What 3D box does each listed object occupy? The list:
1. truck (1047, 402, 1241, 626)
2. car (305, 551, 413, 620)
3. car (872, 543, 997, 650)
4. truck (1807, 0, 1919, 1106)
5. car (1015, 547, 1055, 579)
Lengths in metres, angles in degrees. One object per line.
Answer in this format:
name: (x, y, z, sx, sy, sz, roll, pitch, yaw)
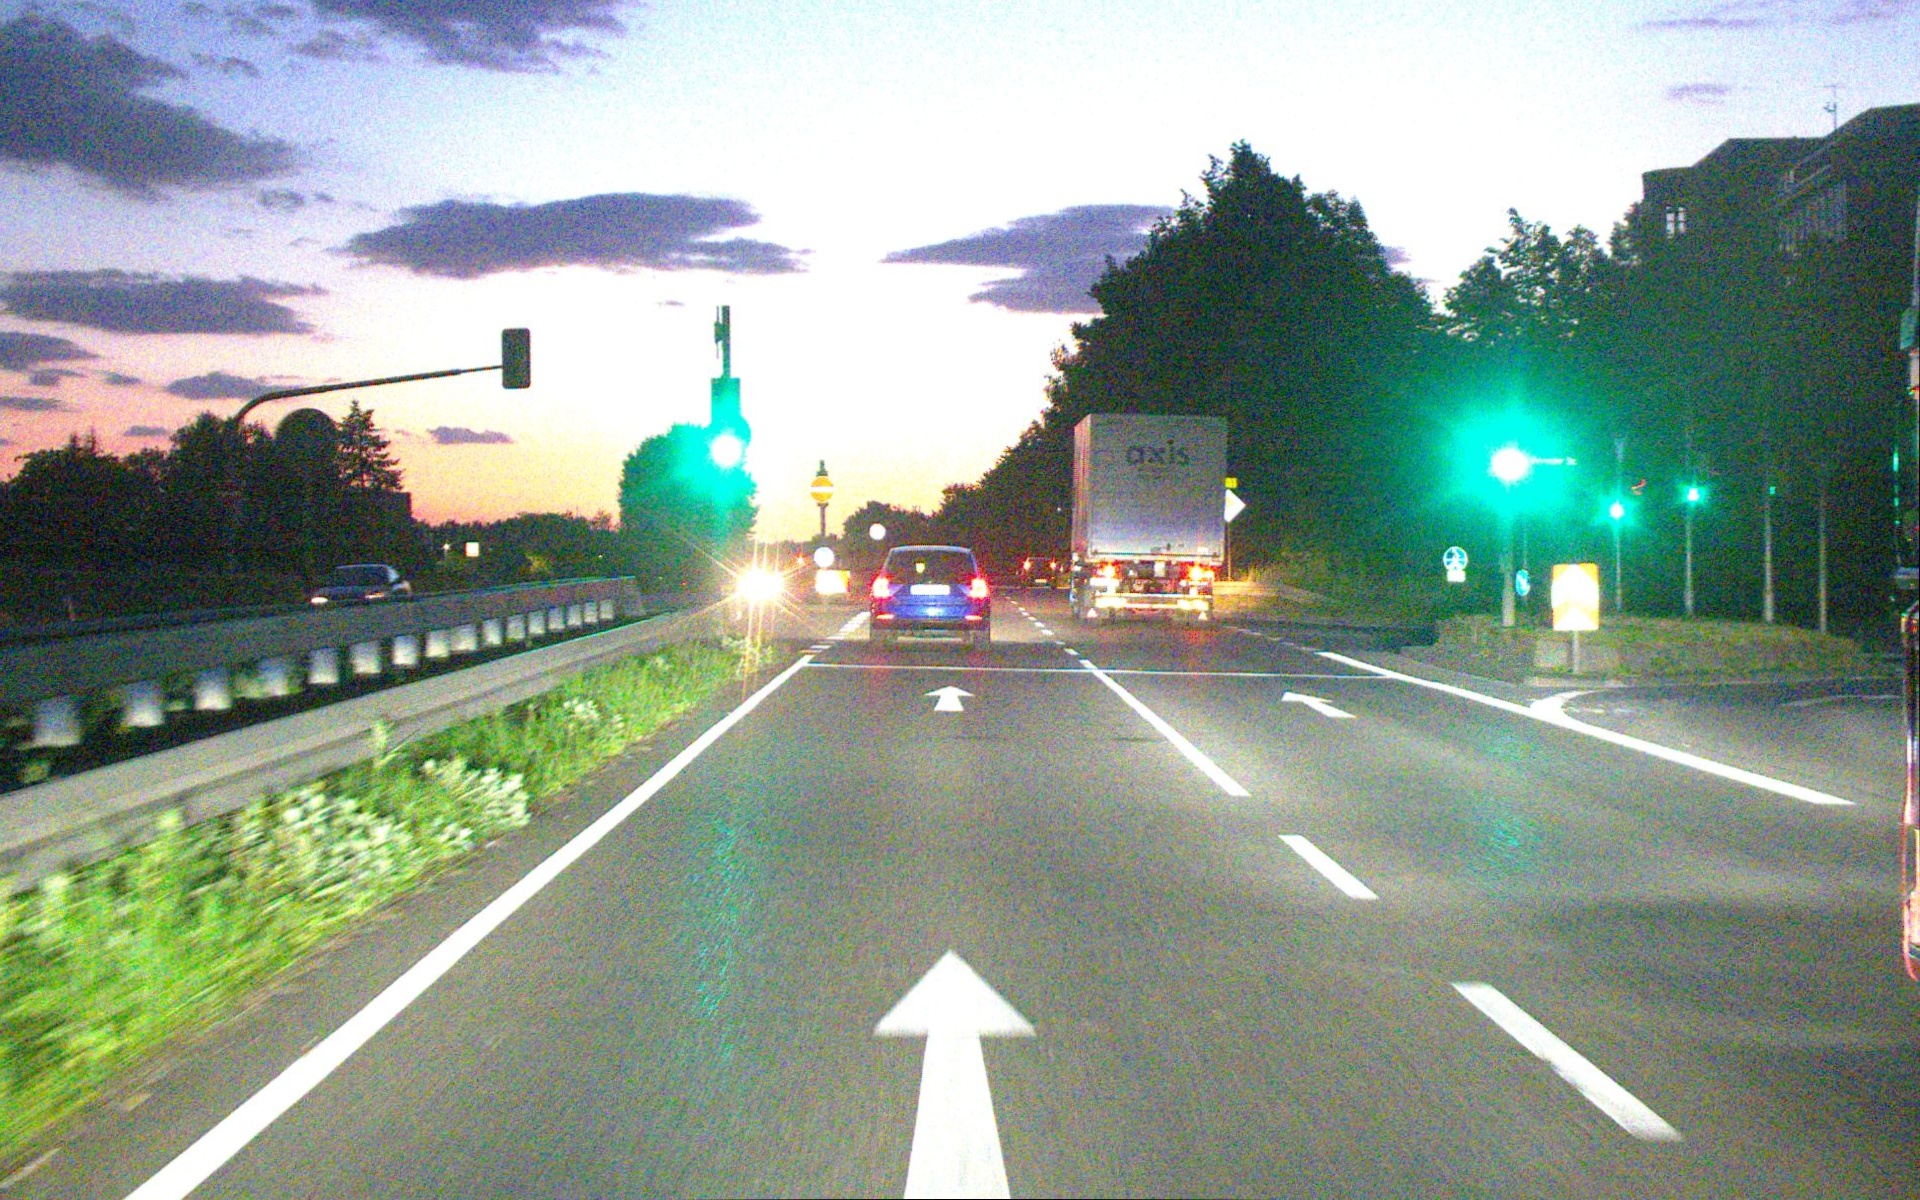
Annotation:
truck: (3.553, -1.682, 69.680, 2.883, 4.092, 12.684, 1, 1, -1)
car: (-12.470, -0.327, 71.563, 1.605, 1.325, 3.940, -2, 1, -1)
car: (-0.401, -0.081, 49.134, 1.695, 1.447, 3.914, 1, 1, -1)
truck: (3.924, -0.572, 4.024, 2.687, 4.092, 13.141, 1, 1, 1)
car: (3.512, -1.747, 162.307, 1.695, 1.447, 3.914, 1, 1, -1)
